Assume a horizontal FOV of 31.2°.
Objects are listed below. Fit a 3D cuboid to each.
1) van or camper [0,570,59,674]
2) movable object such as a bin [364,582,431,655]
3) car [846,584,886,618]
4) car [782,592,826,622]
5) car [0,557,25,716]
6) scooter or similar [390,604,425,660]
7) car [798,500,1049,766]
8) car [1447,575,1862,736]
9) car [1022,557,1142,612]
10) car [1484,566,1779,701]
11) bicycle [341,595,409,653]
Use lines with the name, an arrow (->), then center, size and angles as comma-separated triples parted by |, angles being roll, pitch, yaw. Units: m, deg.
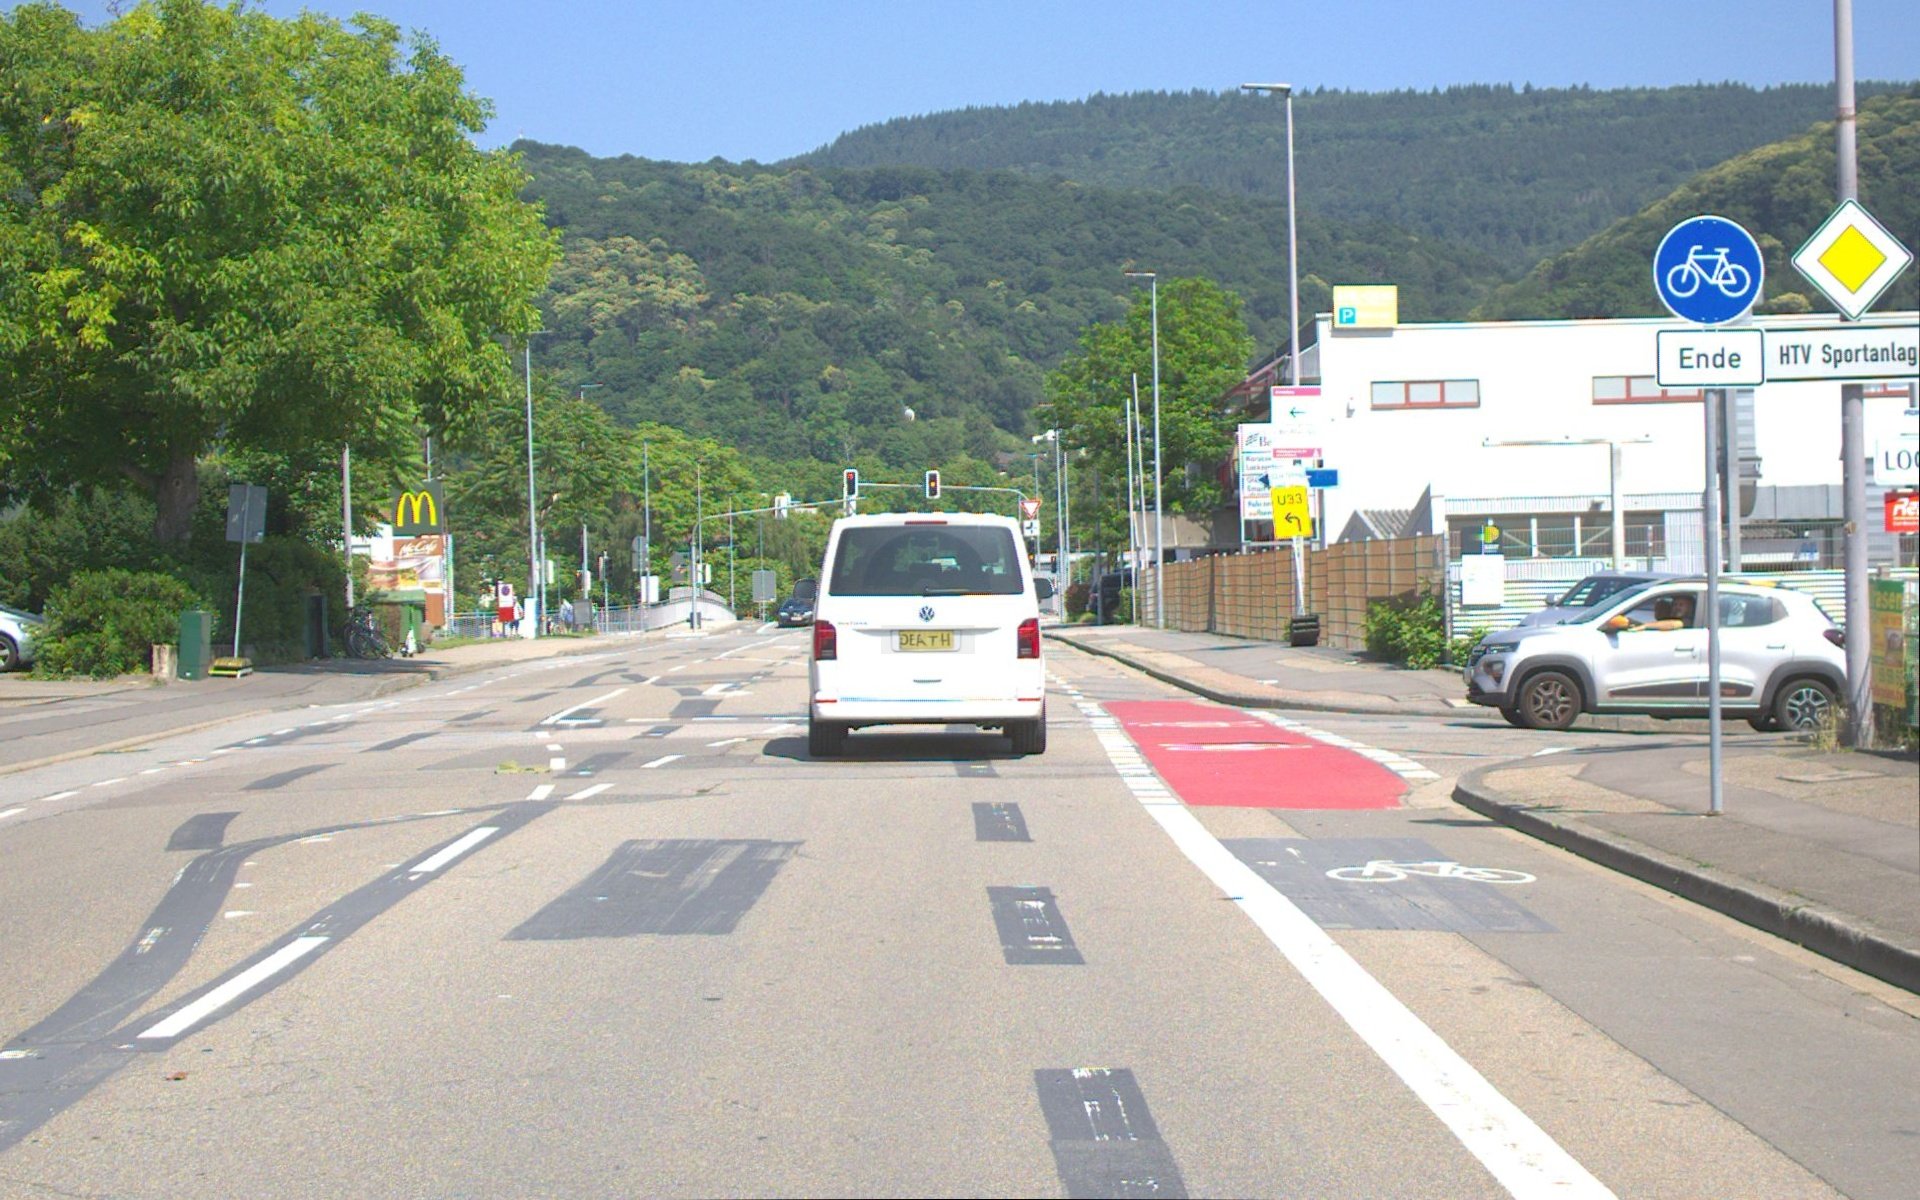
van or camper -> -16.617, 0.320, 56.023 | 3.392, 1.659, 1.633 | 1, 0, 1
movable object such as a bin -> -12.756, 0.416, 78.008 | 1.447, 1.585, 1.307 | -2, 0, -9
car -> -4.599, 0.039, 168.658 | 1.849, 1.583, 4.000 | -2, 0, 0
car -> -7.492, 0.334, 164.843 | 1.993, 1.365, 4.327 | -2, 0, -3
car -> -13.541, 0.447, 40.492 | 4.565, 1.859, 2.093 | -1, 0, -5
scooter or similar -> -11.578, 0.666, 72.050 | 0.646, 1.124, 1.623 | 2, 0, -7
car -> -0.372, 0.246, 28.854 | 1.934, 2.052, 4.545 | 0, 0, -2
car -> 6.621, 0.515, 33.059 | 3.665, 1.479, 1.728 | 0, 0, 2
car -> 4.249, -0.554, 119.514 | 3.988, 1.769, 2.000 | -2, 0, 6
car -> 7.729, 0.409, 39.227 | 1.955, 1.354, 4.489 | 3, 0, 29
bicycle -> -11.657, 0.464, 68.545 | 1.026, 1.114, 2.766 | 1, 0, -4
